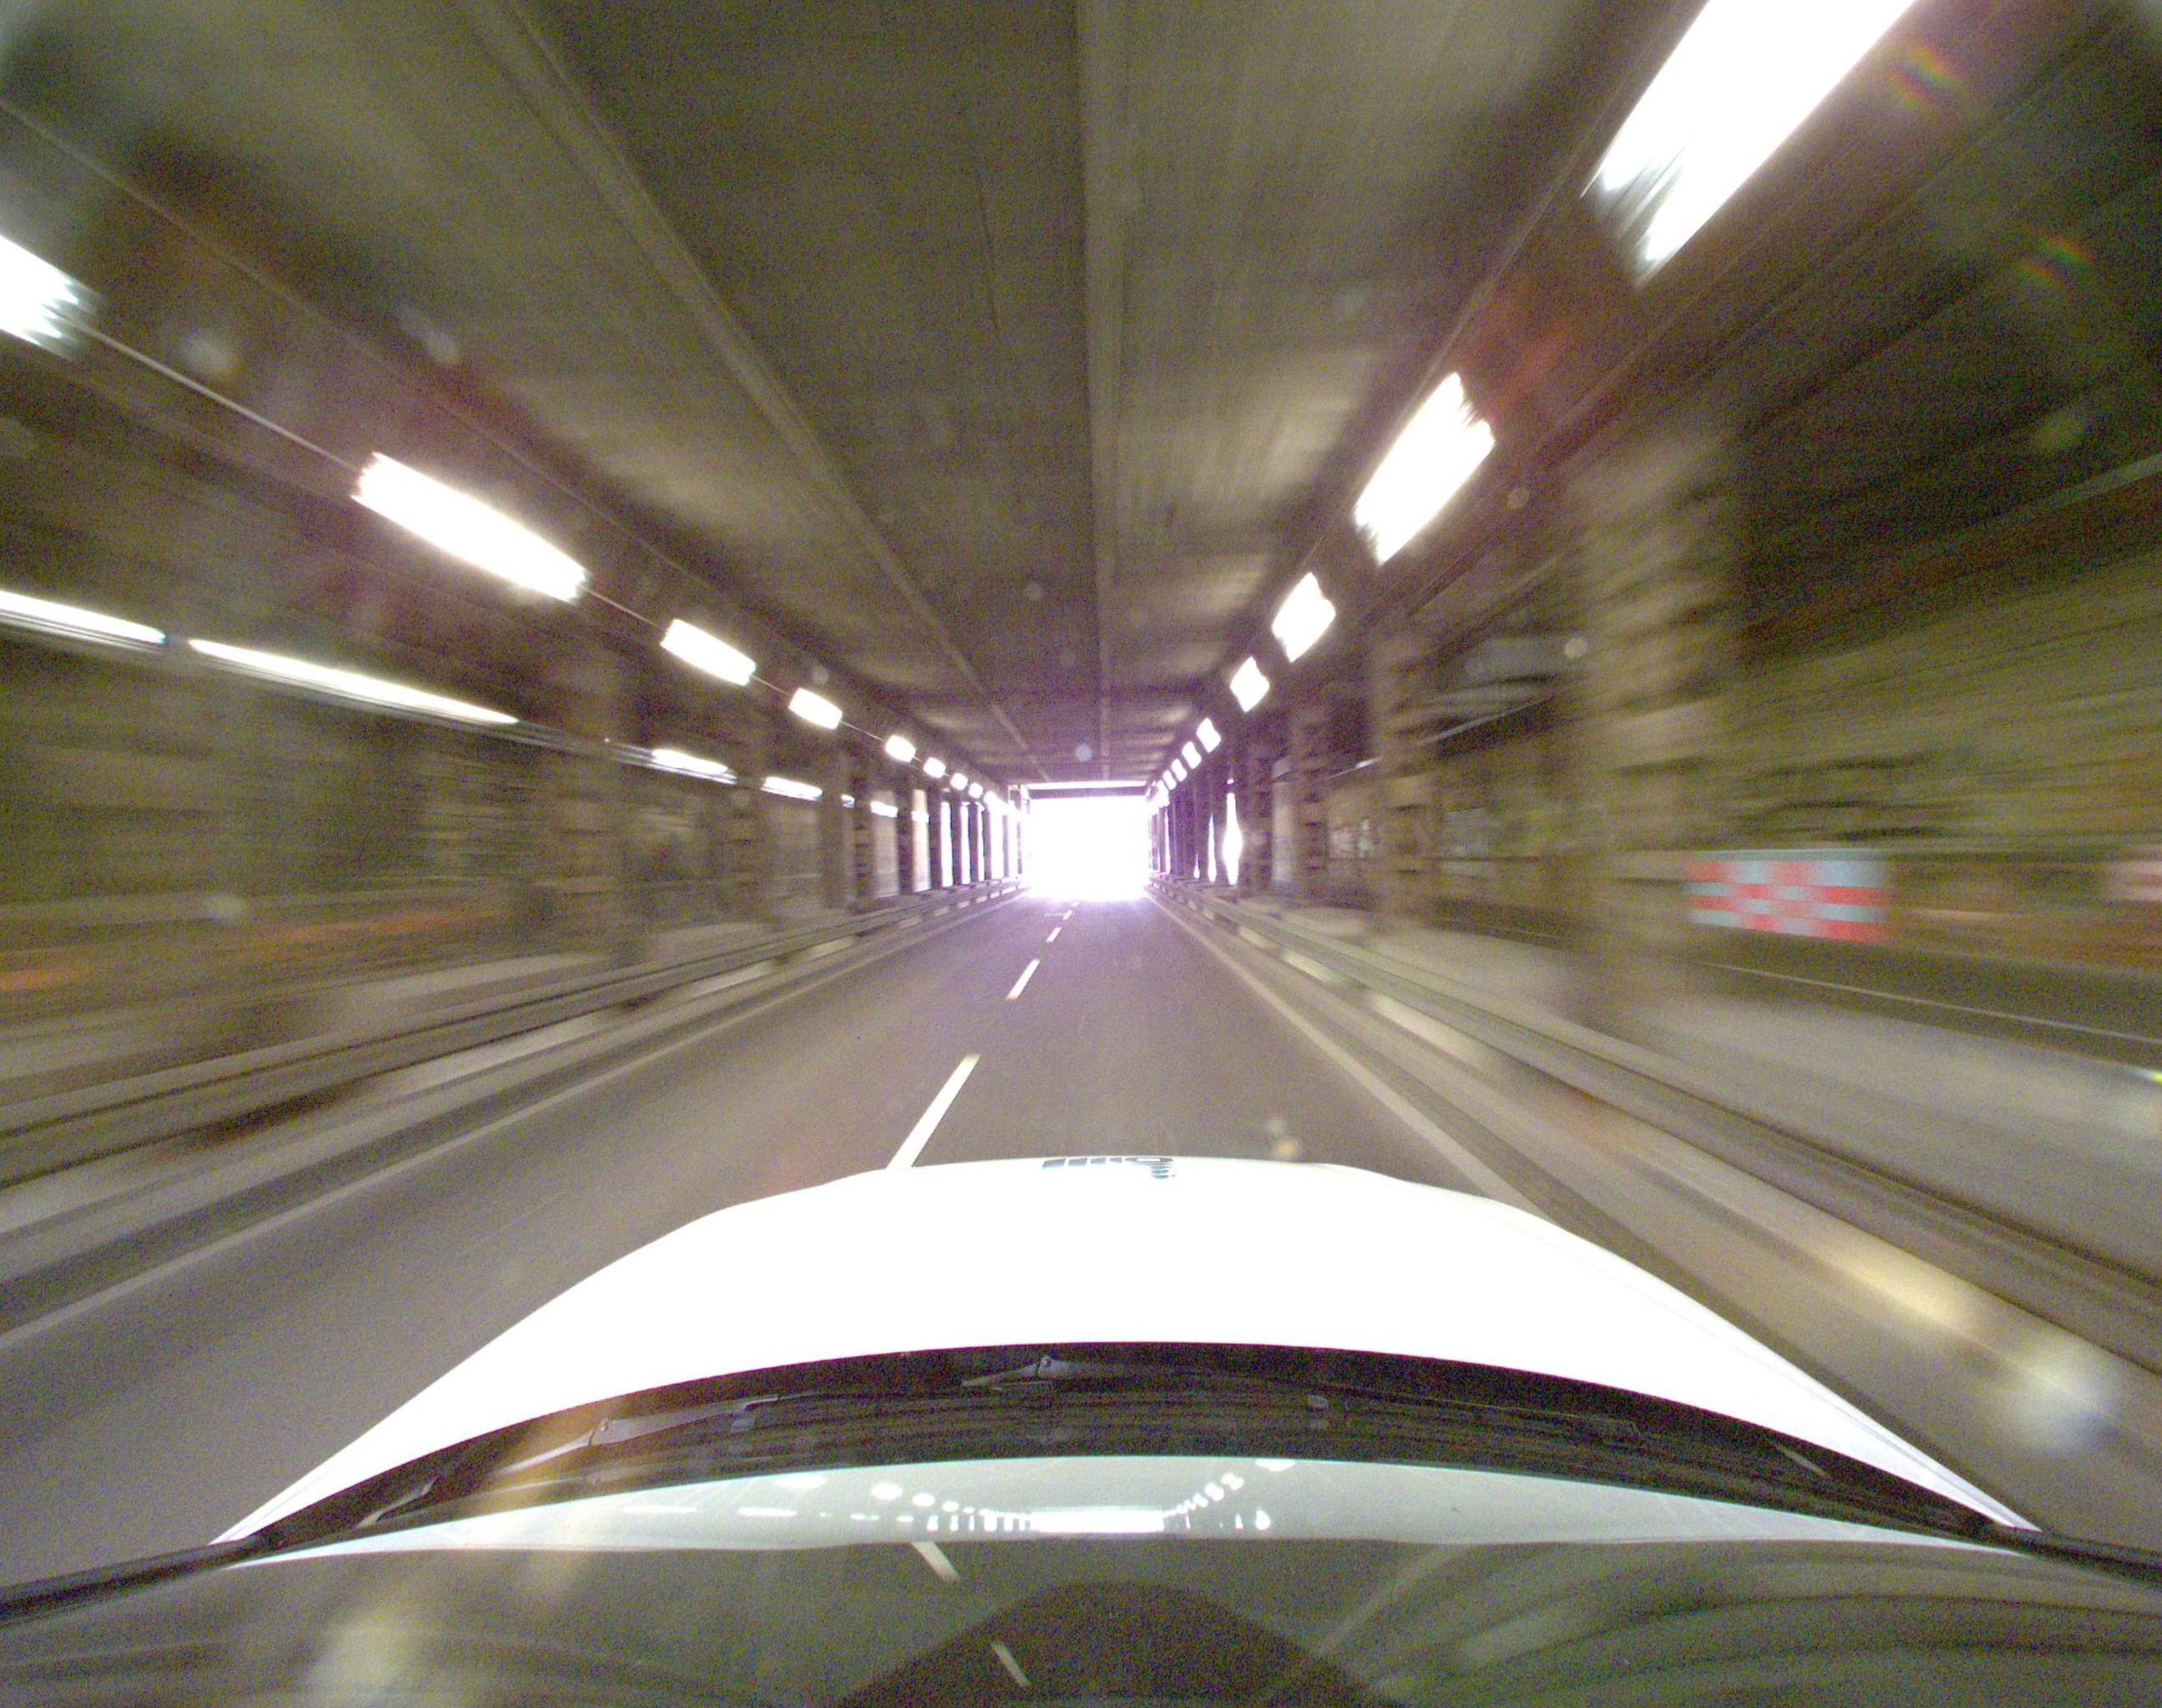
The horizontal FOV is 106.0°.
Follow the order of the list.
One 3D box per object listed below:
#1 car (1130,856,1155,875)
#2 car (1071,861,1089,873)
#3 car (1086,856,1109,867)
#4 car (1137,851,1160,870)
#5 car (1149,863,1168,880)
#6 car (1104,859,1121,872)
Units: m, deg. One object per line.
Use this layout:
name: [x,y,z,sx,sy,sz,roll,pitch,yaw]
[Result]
car: [5.182,0.958,68.710,1.940,1.528,4.092,-1,0,2]
car: [-0.120,1.673,102.157,1.743,1.405,4.423,-1,0,6]
car: [2.523,1.126,122.498,1.906,1.574,3.903,-1,0,25]
car: [7.539,0.769,91.196,2.164,2.009,4.808,-2,-1,1]
car: [7.530,1.651,78.964,1.722,1.500,4.006,-1,0,6]
car: [3.444,1.232,88.138,1.779,1.394,4.108,-1,-1,3]
